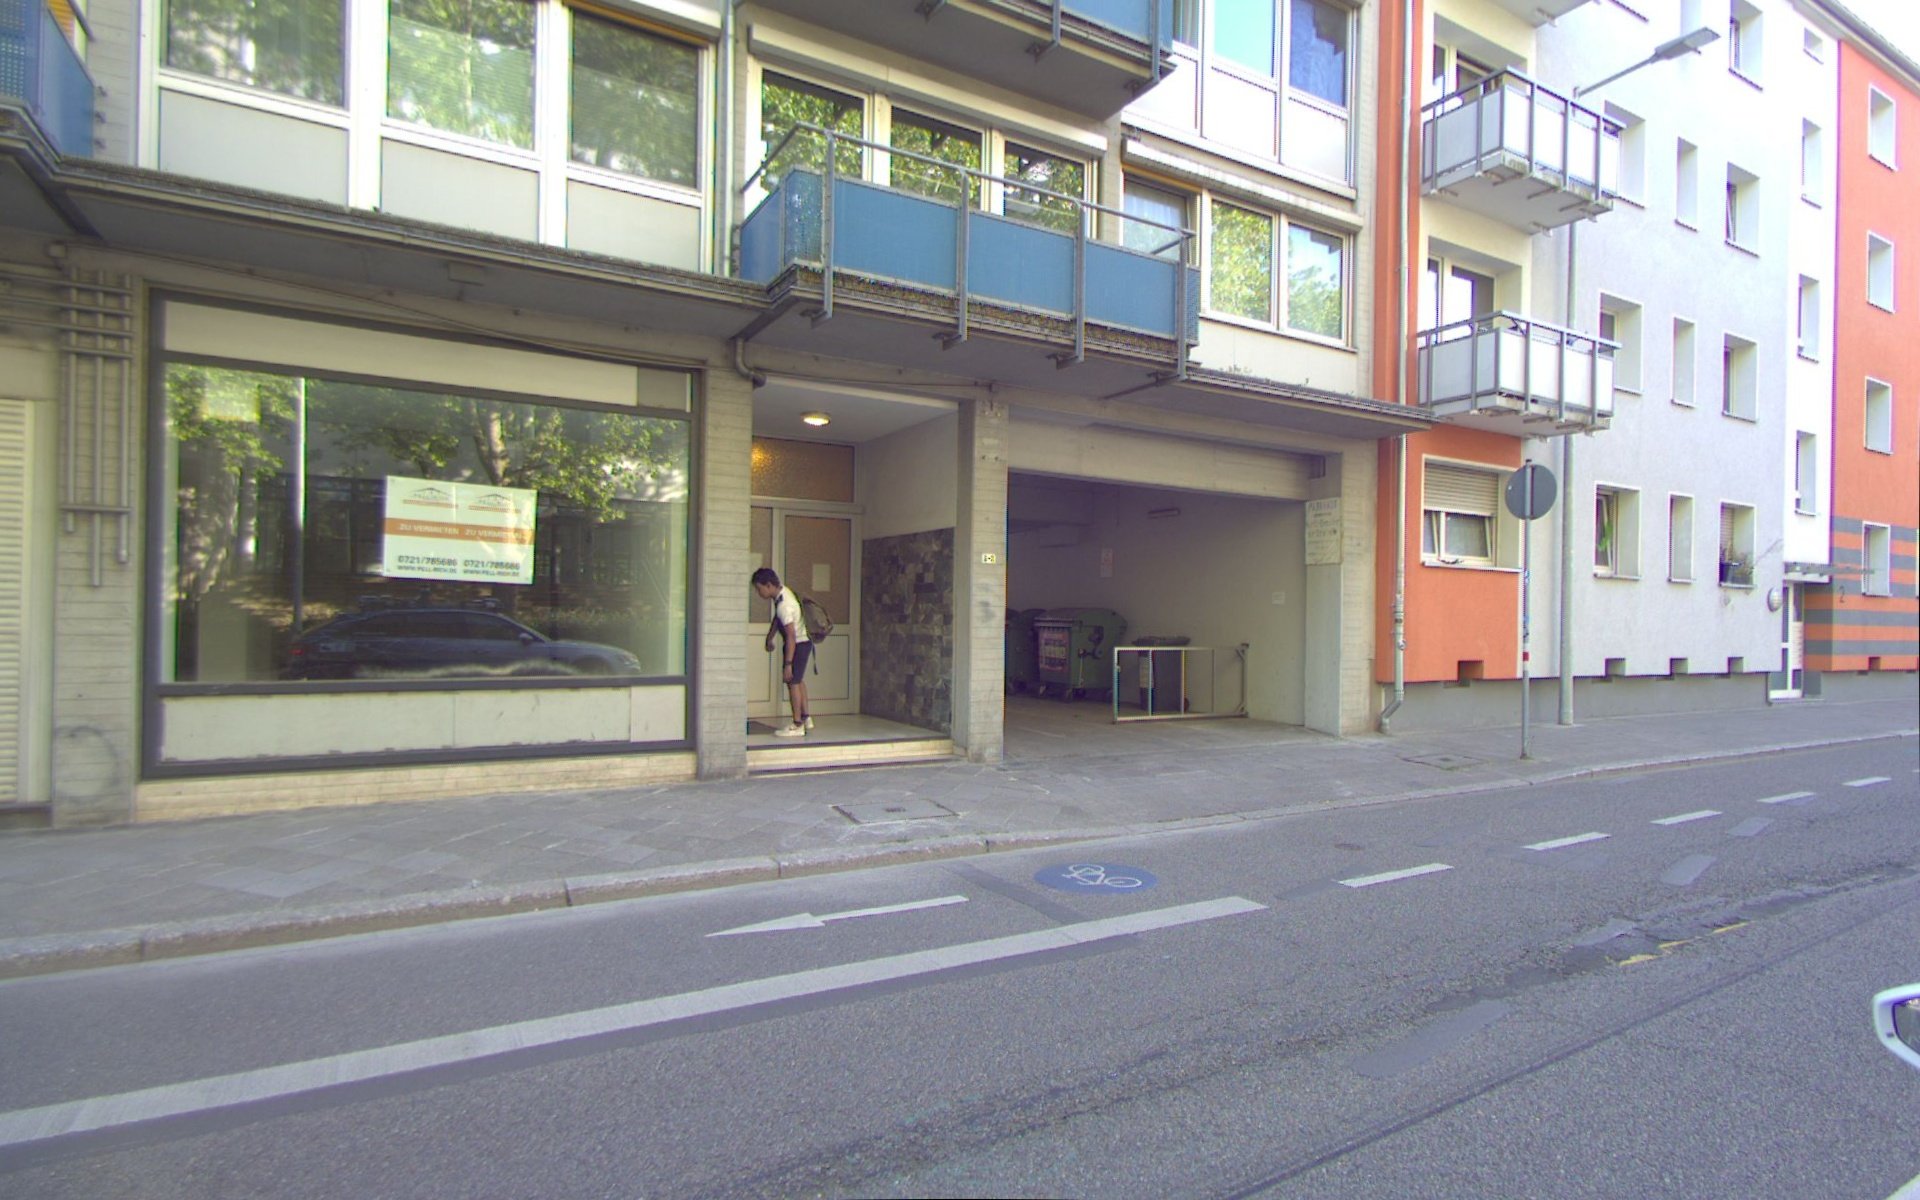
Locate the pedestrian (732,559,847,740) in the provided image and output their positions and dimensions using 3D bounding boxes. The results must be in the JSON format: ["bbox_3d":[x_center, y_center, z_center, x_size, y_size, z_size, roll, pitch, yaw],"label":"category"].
[{"bbox_3d":[-1.592,0.453,9.380,0.914,1.606,0.561,1,0,-29],"label":"pedestrian"}]

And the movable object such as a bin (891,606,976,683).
[{"bbox_3d":[-0.543,0.861,19.936,1.182,1.452,1.300,2,0,-30],"label":"movable object such as a bin"}]

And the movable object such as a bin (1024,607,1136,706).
[{"bbox_3d":[1.878,0.868,15.810,1.182,1.452,1.300,2,0,-30],"label":"movable object such as a bin"}]

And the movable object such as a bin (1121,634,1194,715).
[{"bbox_3d":[2.856,1.062,14.528,0.707,1.089,0.735,2,0,-30],"label":"movable object such as a bin"}]

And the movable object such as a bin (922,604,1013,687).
[{"bbox_3d":[0.125,0.830,18.772,1.182,1.452,1.300,2,0,-30],"label":"movable object such as a bin"}]

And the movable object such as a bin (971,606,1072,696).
[{"bbox_3d":[1.038,0.850,17.197,1.182,1.452,1.300,2,0,-30],"label":"movable object such as a bin"}]
